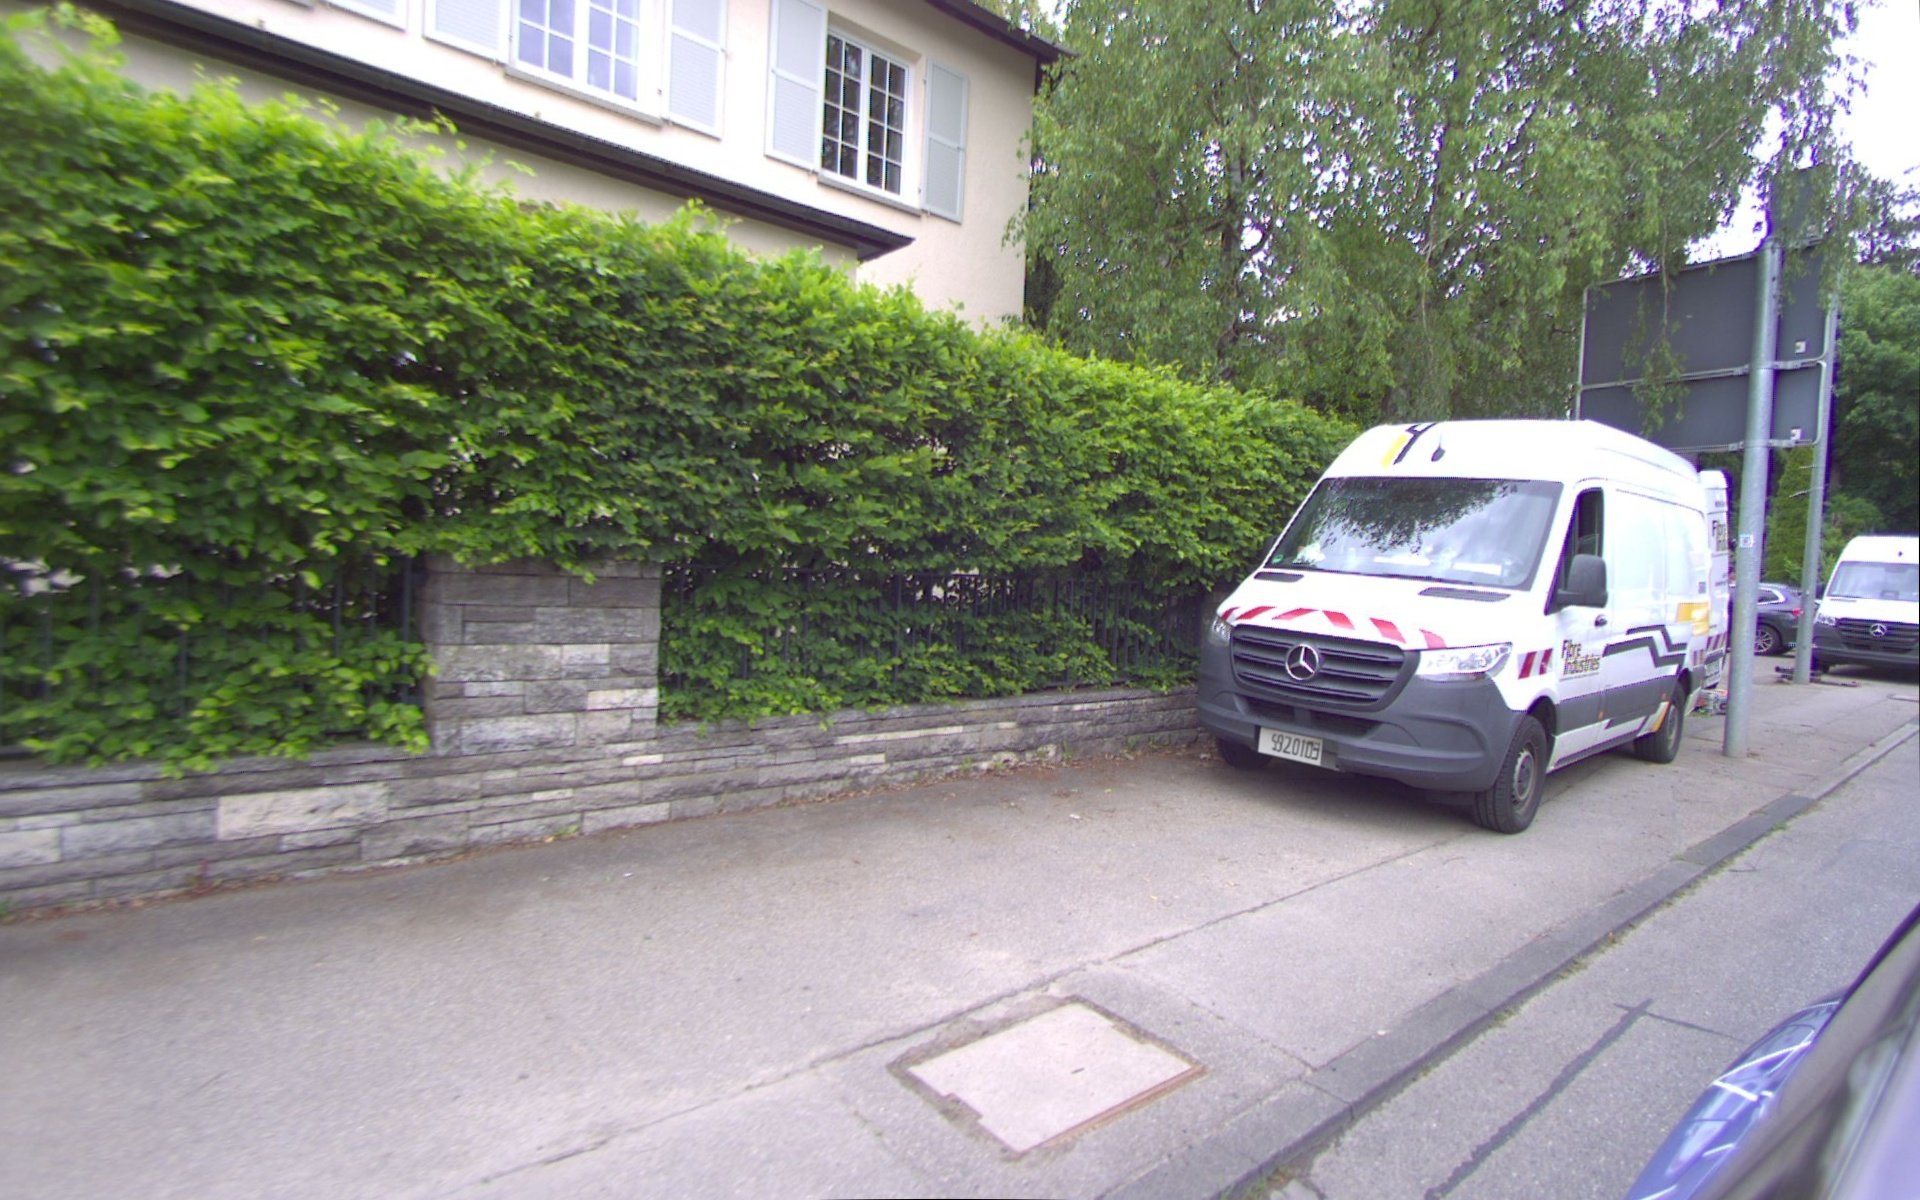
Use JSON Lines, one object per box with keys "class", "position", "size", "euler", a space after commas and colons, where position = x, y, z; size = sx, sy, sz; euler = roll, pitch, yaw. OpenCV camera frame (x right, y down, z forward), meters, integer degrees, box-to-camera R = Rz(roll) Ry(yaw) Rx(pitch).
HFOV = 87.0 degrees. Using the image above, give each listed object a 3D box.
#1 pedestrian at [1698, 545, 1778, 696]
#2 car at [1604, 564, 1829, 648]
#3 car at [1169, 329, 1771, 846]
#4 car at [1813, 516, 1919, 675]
{"class": "pedestrian", "position": [9.911, 0.235, 12.895], "size": [0.774, 1.853, 0.639], "euler": [0, 2, -43]}
{"class": "car", "position": [18.064, 0.080, 24.309], "size": [1.827, 1.749, 3.996], "euler": [0, 3, -40]}
{"class": "car", "position": [4.547, -0.146, 8.181], "size": [6.570, 2.635, 2.093], "euler": [0, 4, -43]}
{"class": "car", "position": [18.034, -0.104, 19.014], "size": [5.863, 2.634, 2.046], "euler": [0, 4, -41]}
